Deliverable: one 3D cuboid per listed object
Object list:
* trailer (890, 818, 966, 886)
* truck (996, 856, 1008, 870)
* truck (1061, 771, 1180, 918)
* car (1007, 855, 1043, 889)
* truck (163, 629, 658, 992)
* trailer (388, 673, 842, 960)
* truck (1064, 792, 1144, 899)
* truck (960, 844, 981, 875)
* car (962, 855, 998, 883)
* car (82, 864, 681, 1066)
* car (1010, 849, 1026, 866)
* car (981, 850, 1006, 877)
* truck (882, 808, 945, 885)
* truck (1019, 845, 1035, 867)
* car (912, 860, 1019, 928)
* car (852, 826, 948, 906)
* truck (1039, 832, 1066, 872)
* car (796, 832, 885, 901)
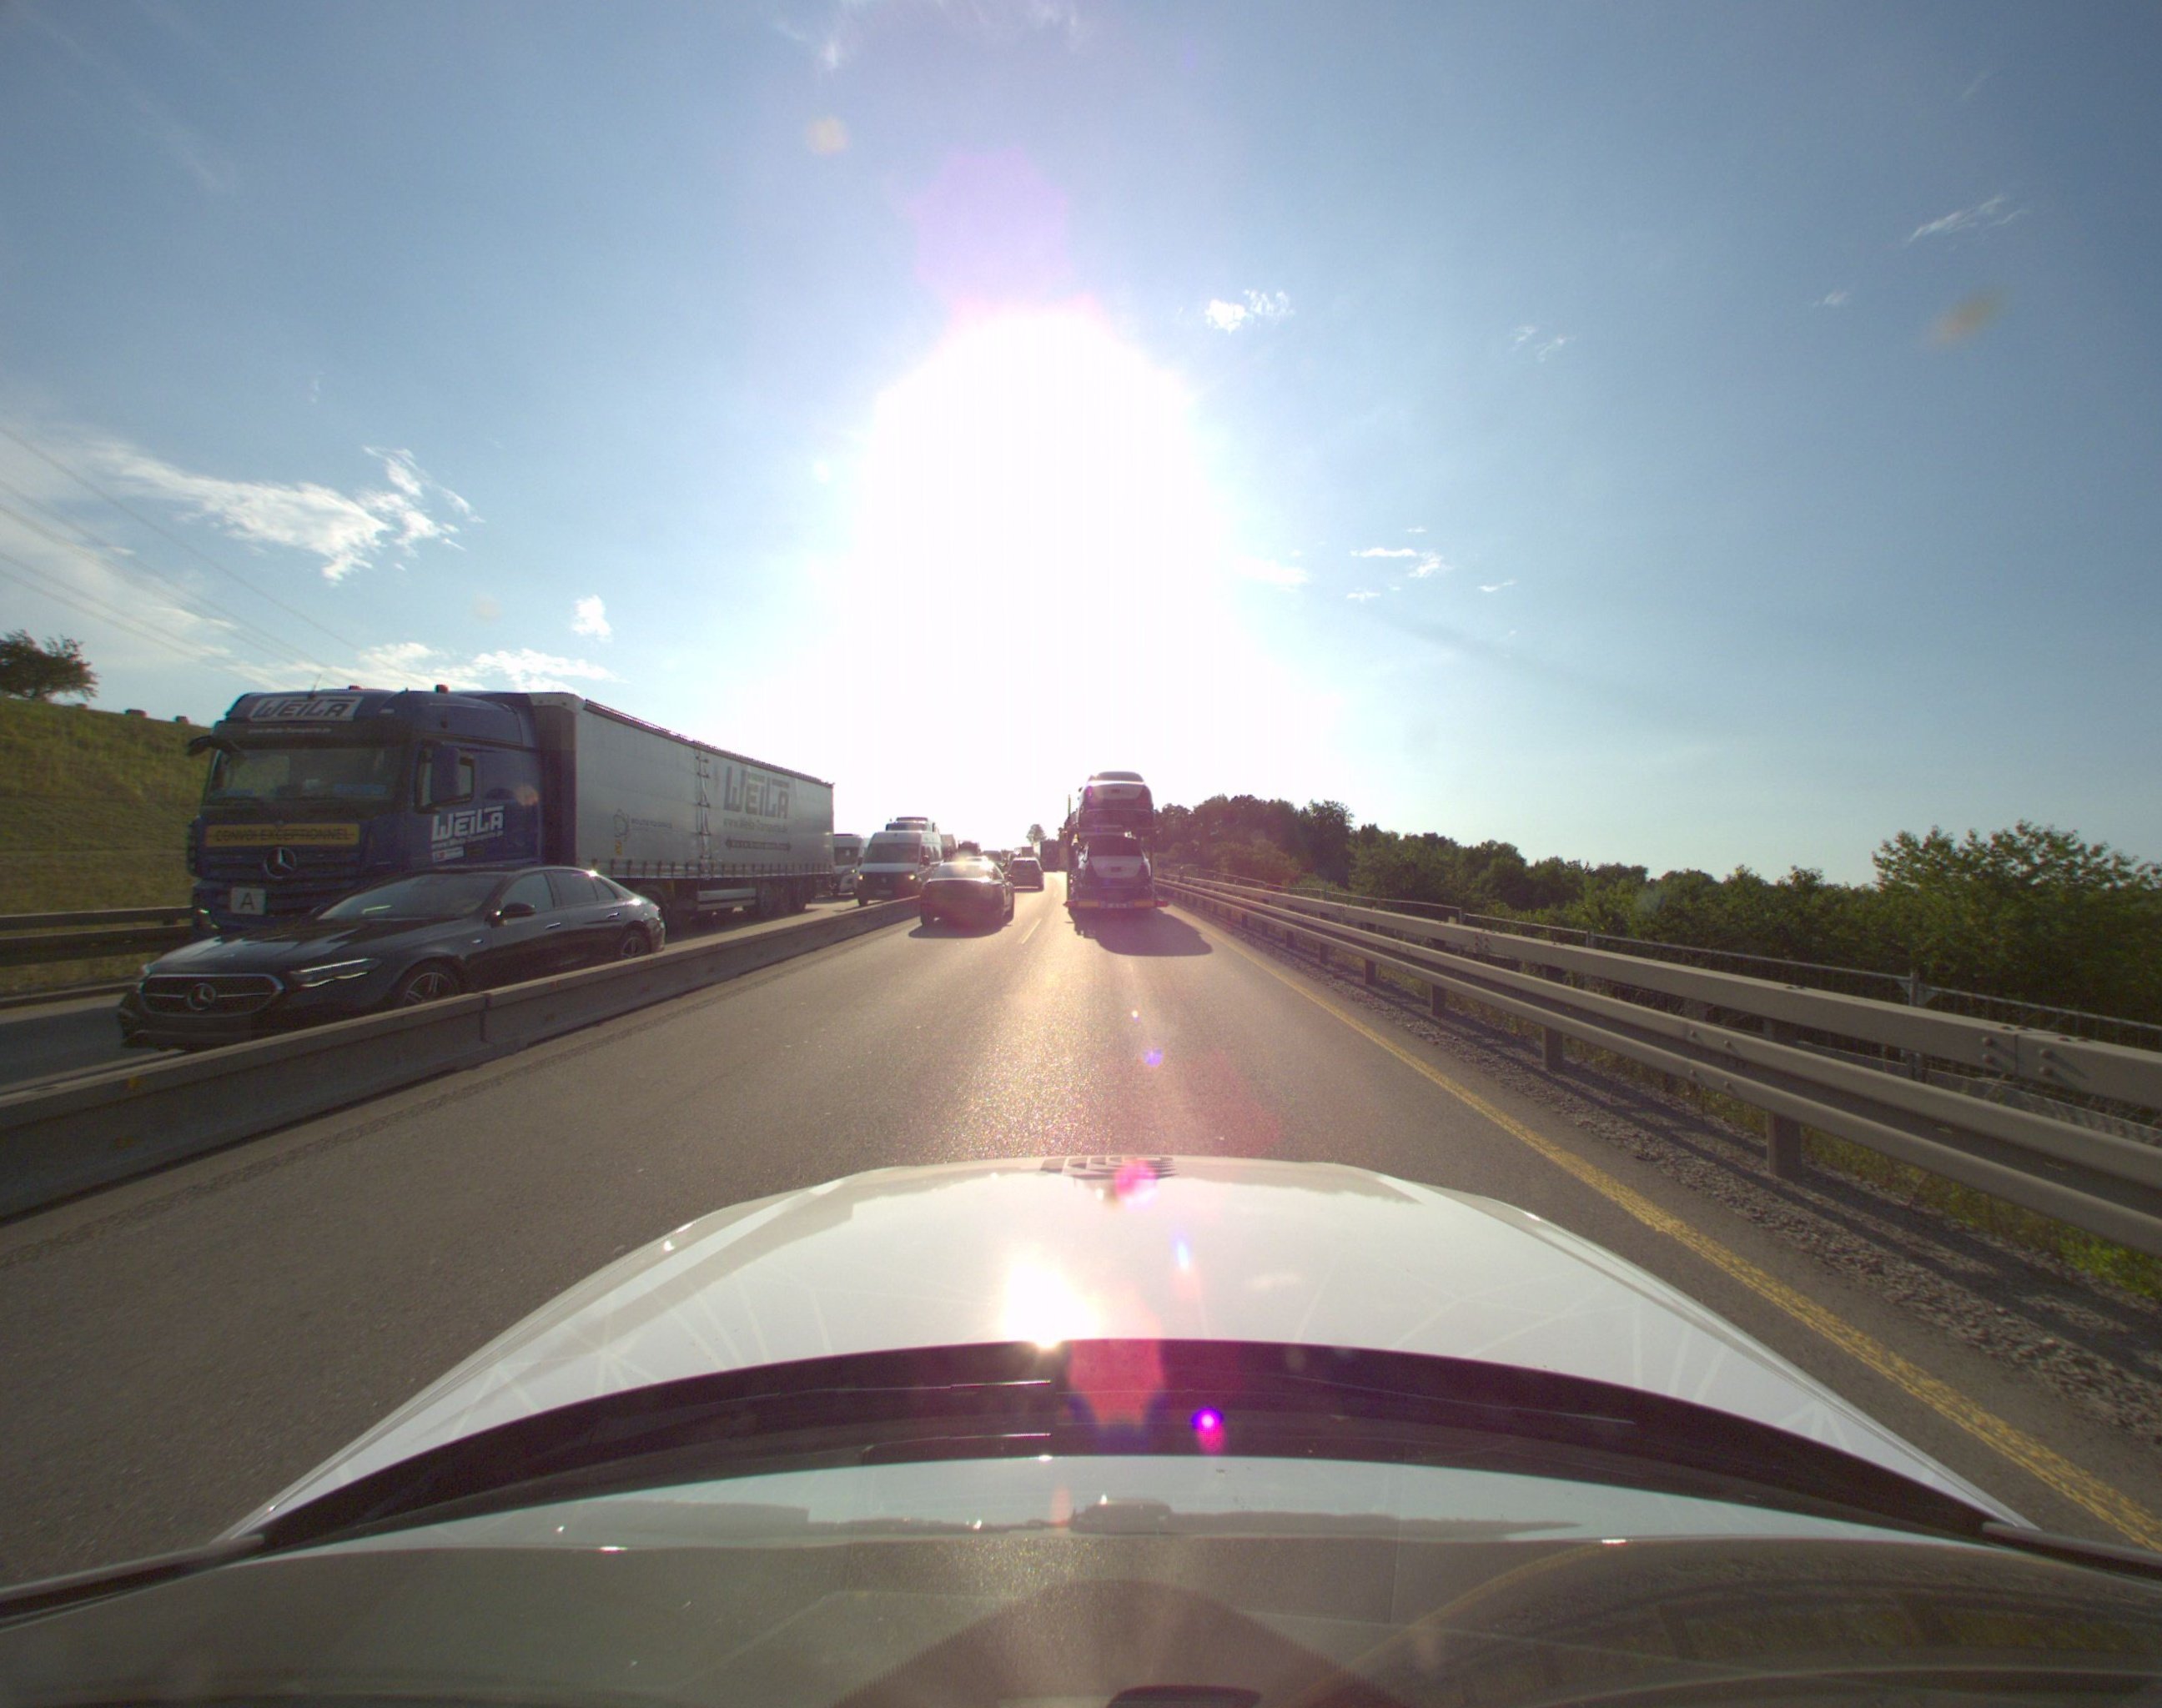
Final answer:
[{"bbox_3d":[-9.898,-0.076,54.646,2.688,3.873,15.377,-1,0,-2],"label":"trailer"},{"bbox_3d":[-18.745,2.098,193.673,2.585,3.170,6.668,-1,-1,-3],"label":"truck"},{"bbox_3d":[0.895,-0.188,24.773,2.790,3.497,10.601,-1,0,-1],"label":"truck"},{"bbox_3d":[-2.773,0.872,40.709,1.688,1.596,3.995,-1,0,-3],"label":"car"},{"bbox_3d":[-9.049,-0.476,12.028,2.494,4.065,5.666,-1,-1,1],"label":"truck"},{"bbox_3d":[-8.891,-0.497,19.095,2.300,4.130,14.596,-1,0,0],"label":"trailer"},{"bbox_3d":[0.820,-0.260,34.249,2.829,3.792,9.984,-1,0,0],"label":"truck"},{"bbox_3d":[-13.603,0.688,99.725,2.312,3.607,11.936,-1,0,-8],"label":"truck"},{"bbox_3d":[-6.472,0.965,52.610,1.865,1.694,4.593,-1,0,-1],"label":"car"},{"bbox_3d":[-6.116,0.810,8.132,1.752,1.378,4.769,-1,0,2],"label":"car"},{"bbox_3d":[-9.613,0.544,124.770,1.915,2.492,5.407,-1,-1,0],"label":"car"},{"bbox_3d":[-8.447,0.912,79.132,2.100,2.482,6.058,-1,0,-4],"label":"car"},{"bbox_3d":[-9.493,-0.385,46.601,2.497,4.065,5.879,-1,-1,-2],"label":"truck"},{"bbox_3d":[-9.550,0.375,144.666,2.525,3.648,8.895,-1,0,-3],"label":"truck"},{"bbox_3d":[-2.676,0.883,20.042,1.928,1.399,4.960,-1,0,0],"label":"car"},{"bbox_3d":[-6.243,0.402,28.931,2.051,2.500,6.770,-1,0,-2],"label":"car"},{"bbox_3d":[-3.953,-0.232,111.223,3.280,5.237,9.919,-1,-1,-4],"label":"truck"},{"bbox_3d":[-9.749,0.480,33.486,2.152,2.557,5.584,-1,-1,-2],"label":"car"}]
